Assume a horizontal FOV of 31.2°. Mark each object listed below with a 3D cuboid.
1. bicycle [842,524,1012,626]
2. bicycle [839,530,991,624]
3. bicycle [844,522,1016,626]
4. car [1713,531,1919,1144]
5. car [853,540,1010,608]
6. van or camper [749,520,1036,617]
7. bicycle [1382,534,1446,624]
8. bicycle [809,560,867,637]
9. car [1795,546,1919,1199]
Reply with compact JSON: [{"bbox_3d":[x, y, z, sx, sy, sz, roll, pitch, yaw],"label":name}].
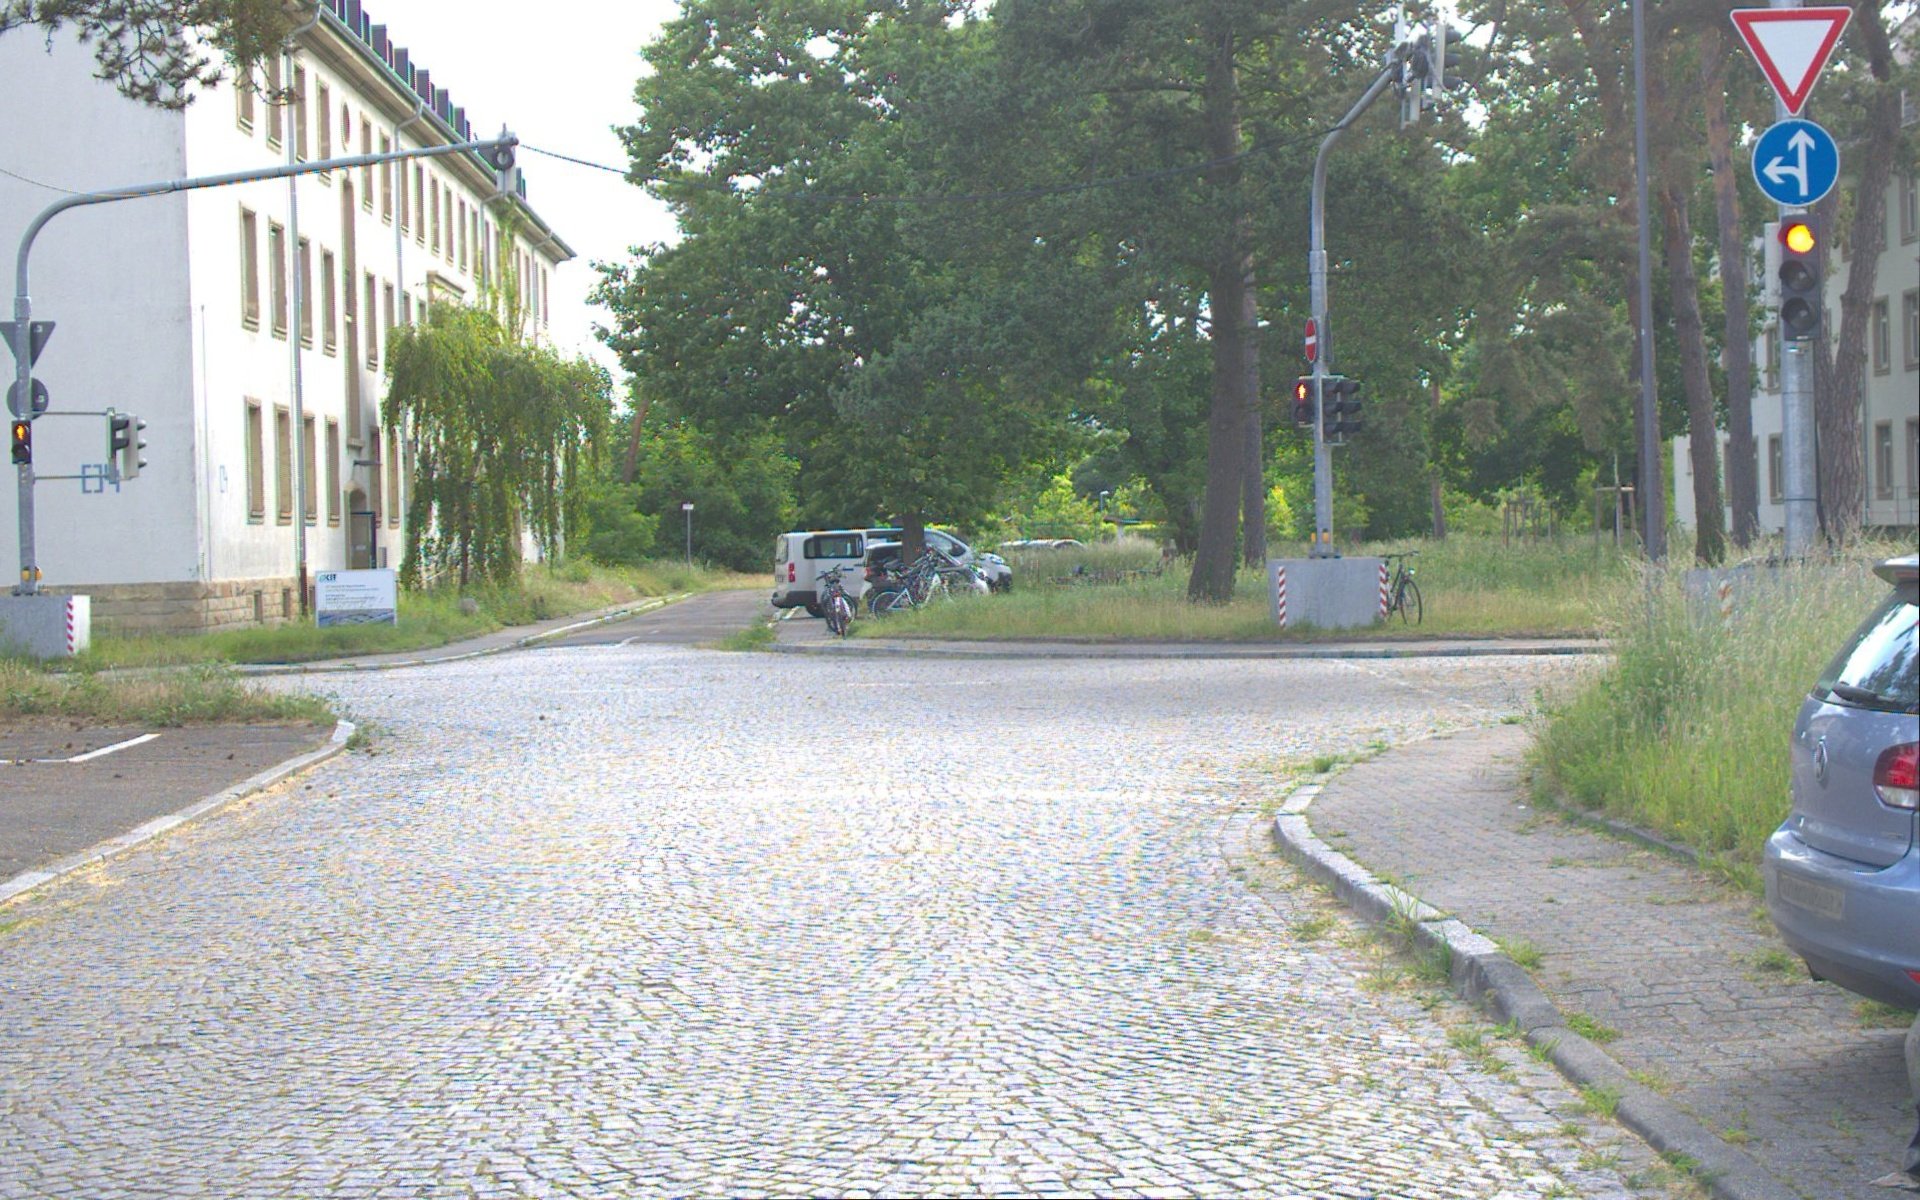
[{"bbox_3d":[-0.576,-0.439,59.368,2.775,1.688,1.120,-2,1,-8],"label":"bicycle"},{"bbox_3d":[-0.834,-0.434,64.270,2.775,1.688,1.120,1,1,0],"label":"bicycle"},{"bbox_3d":[-0.521,-0.447,58.174,2.775,1.688,1.120,-1,1,-7],"label":"bicycle"},{"bbox_3d":[4.146,0.502,9.189,3.842,1.466,1.642,-2,1,-2],"label":"car"},{"bbox_3d":[-0.615,-0.553,72.587,3.137,1.349,1.620,-1,1,-7],"label":"car"},{"bbox_3d":[-1.503,-0.712,76.132,6.030,1.942,2.001,-2,1,-15],"label":"van or camper"},{"bbox_3d":[6.121,-0.293,46.481,0.724,1.165,2.736,0,1,5],"label":"bicycle"},{"bbox_3d":[-1.903,-0.039,53.877,0.725,1.104,2.462,-6,1,0],"label":"bicycle"},{"bbox_3d":[4.108,0.588,6.581,4.512,1.478,1.808,-1,1,-4],"label":"car"}]
